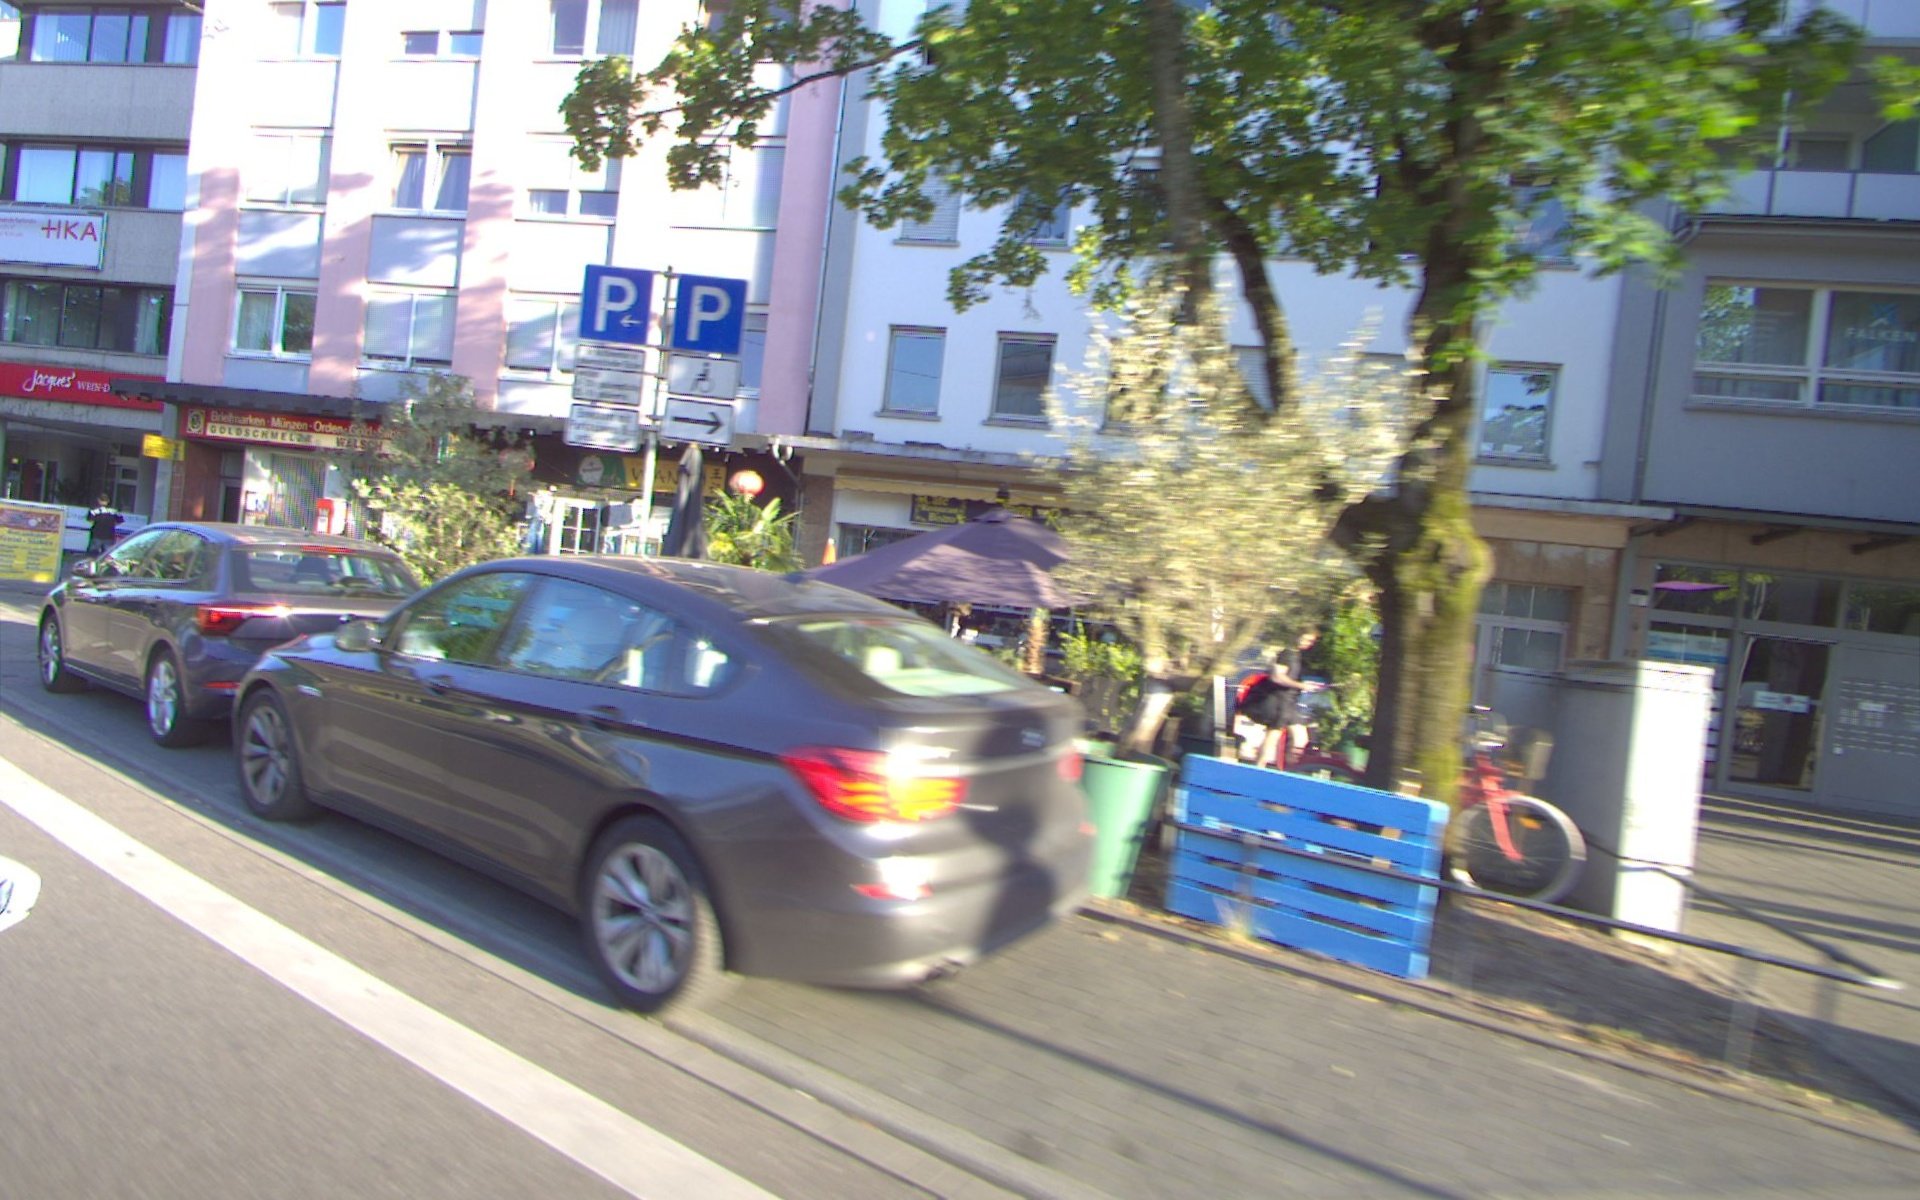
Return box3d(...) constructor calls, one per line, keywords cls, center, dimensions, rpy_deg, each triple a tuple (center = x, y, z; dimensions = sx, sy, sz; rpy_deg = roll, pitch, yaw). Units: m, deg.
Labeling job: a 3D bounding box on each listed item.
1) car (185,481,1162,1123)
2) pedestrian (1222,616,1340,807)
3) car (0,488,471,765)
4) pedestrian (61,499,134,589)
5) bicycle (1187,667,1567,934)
box3d(cls="car", center=(-1.665, 0.507, 4.933), dimensions=(4.735, 1.690, 1.807), rpy_deg=(7, -1, 33))
box3d(cls="pedestrian", center=(3.211, 1.082, 10.162), dimensions=(0.759, 1.748, 0.894), rpy_deg=(7, 1, 5))
box3d(cls="car", center=(-5.755, 0.105, 7.829), dimensions=(4.002, 1.553, 1.652), rpy_deg=(6, -1, 35))
box3d(cls="pedestrian", center=(-16.830, -1.088, 19.647), dimensions=(0.840, 1.649, 0.640), rpy_deg=(7, 3, 13))
box3d(cls="bicycle", center=(2.557, 1.172, 6.348), dimensions=(2.050, 1.224, 0.446), rpy_deg=(7, 0, 35))
